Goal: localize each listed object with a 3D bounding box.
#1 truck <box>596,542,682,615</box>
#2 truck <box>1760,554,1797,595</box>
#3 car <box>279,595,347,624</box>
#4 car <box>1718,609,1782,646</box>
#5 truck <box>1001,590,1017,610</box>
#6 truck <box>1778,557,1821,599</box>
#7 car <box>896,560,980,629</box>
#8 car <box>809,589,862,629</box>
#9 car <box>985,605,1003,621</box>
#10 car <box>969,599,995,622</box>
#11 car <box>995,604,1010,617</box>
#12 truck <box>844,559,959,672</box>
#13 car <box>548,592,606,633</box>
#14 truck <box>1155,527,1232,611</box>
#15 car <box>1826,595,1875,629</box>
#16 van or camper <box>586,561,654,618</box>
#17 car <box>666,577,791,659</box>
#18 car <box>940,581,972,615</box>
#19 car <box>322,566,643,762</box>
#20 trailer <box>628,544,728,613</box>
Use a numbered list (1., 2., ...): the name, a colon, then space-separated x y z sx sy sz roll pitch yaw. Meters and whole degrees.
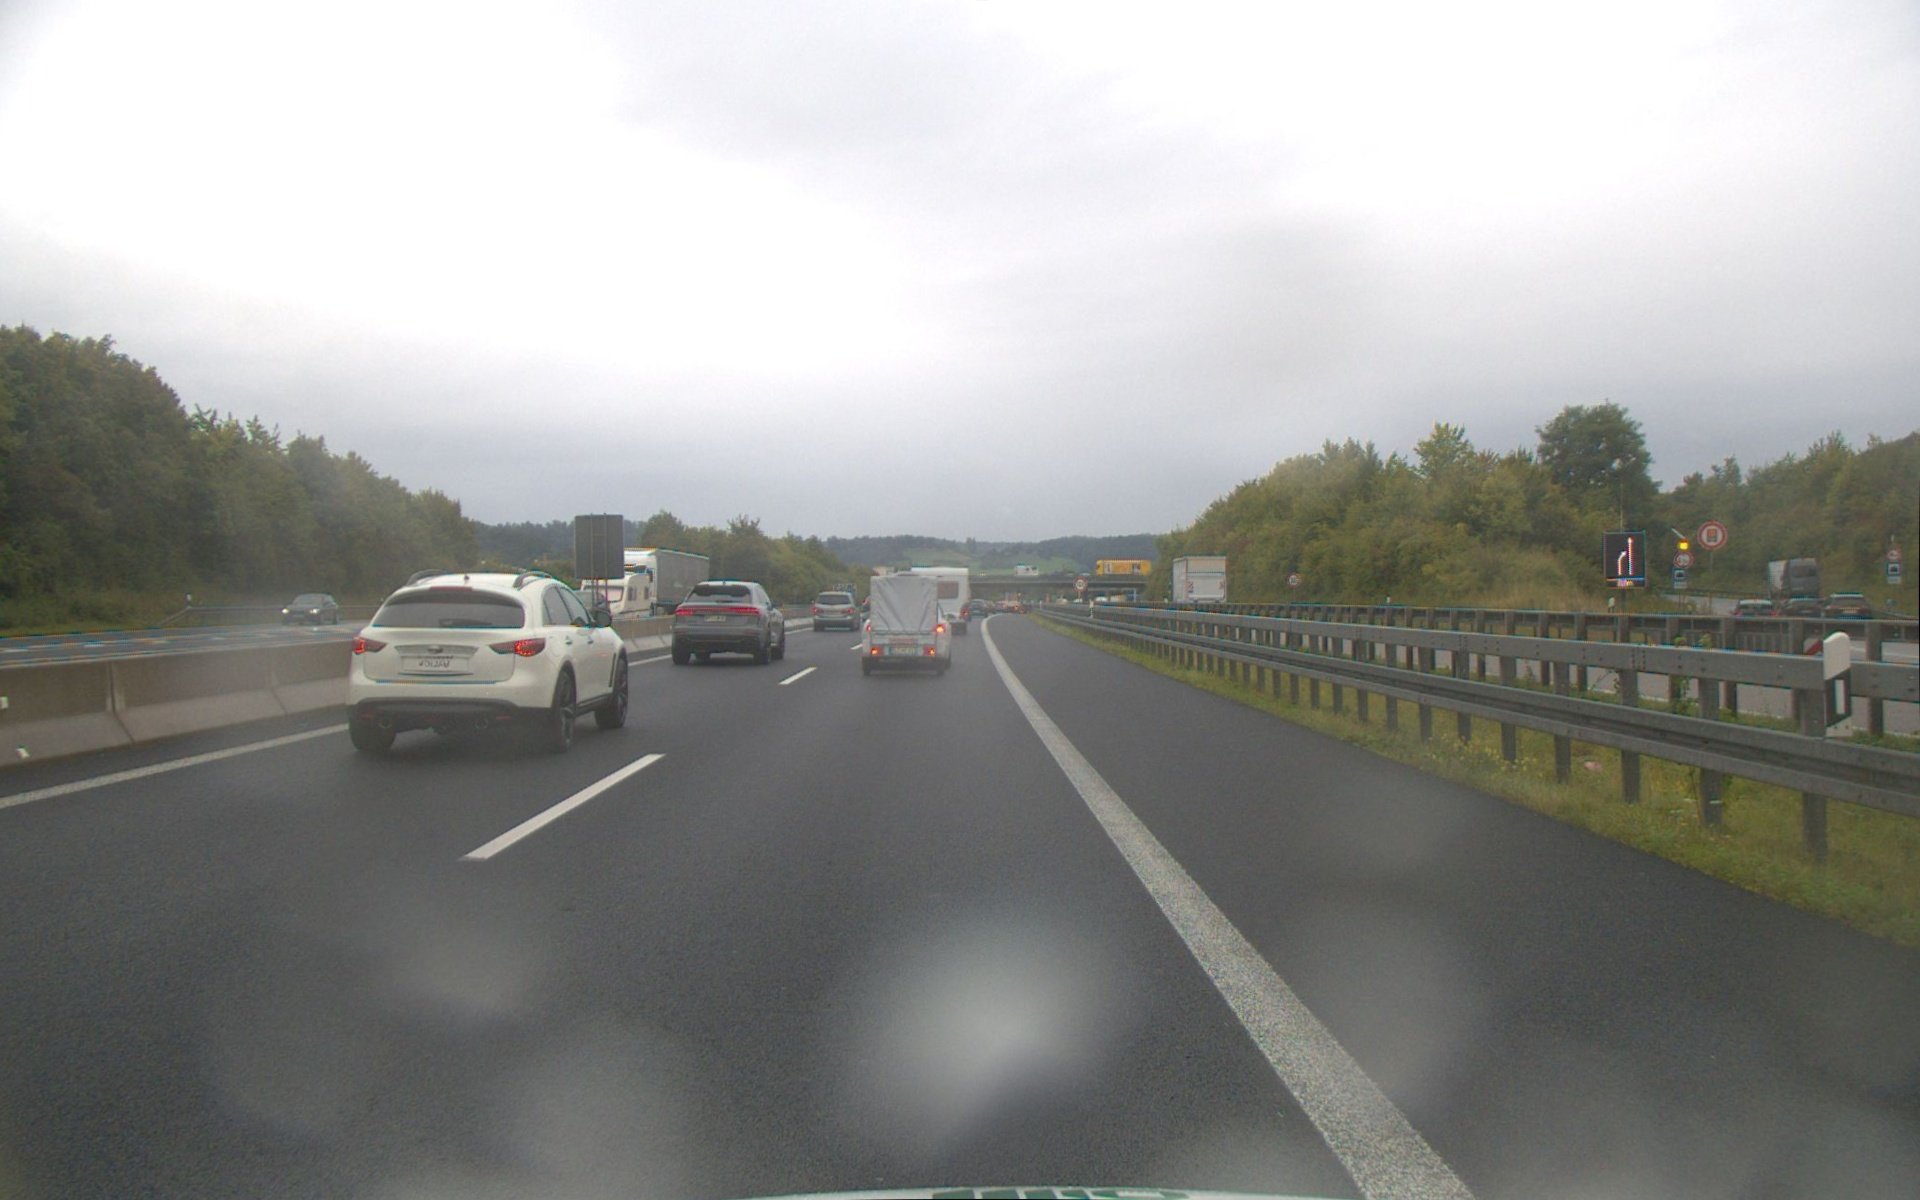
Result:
1. truck: -18.873 -1.216 97.735 3.191 4.155 7.445 0 0 4
2. truck: 60.863 -1.879 122.872 2.202 2.929 8.161 0 0 28
3. car: -30.144 0.406 77.168 1.654 1.316 3.923 0 0 -1
4. car: 32.765 1.123 68.685 1.821 1.473 4.160 0 0 18
5. truck: 7.710 0.006 259.296 2.230 3.136 7.249 1 0 4
6. truck: 57.468 -1.485 113.173 2.394 2.752 5.559 0 0 29
7. car: -0.823 -0.224 66.793 2.953 2.662 6.077 0 0 3
8. car: -5.136 0.360 68.832 1.861 1.641 4.017 0 0 0
9. car: 3.897 1.450 188.767 1.952 1.780 4.001 1 0 3
10. car: 1.778 0.872 132.460 1.952 1.780 4.001 1 0 3
11. car: 5.974 1.531 231.842 1.952 1.780 4.002 1 0 4
12. truck: -1.039 0.261 32.981 1.977 2.020 7.213 0 0 1
13. car: -15.987 0.497 69.170 1.496 1.648 4.387 0 0 -1
14. truck: 15.097 -1.954 107.638 4.008 5.193 10.467 0 0 3
15. car: 40.436 0.528 75.169 1.823 1.473 4.153 0 0 26
16. van or camper: -15.428 -0.481 75.389 1.758 2.513 5.549 0 0 2
17. car: -4.915 0.373 35.696 2.130 1.660 4.499 0 0 -1
18. car: -0.264 -0.123 105.280 1.953 2.071 4.151 1 0 -1
19. car: -4.502 0.548 16.365 1.936 1.668 4.499 0 0 -1
20. trailer: -18.163 -1.342 107.672 3.191 4.155 13.852 0 0 4
